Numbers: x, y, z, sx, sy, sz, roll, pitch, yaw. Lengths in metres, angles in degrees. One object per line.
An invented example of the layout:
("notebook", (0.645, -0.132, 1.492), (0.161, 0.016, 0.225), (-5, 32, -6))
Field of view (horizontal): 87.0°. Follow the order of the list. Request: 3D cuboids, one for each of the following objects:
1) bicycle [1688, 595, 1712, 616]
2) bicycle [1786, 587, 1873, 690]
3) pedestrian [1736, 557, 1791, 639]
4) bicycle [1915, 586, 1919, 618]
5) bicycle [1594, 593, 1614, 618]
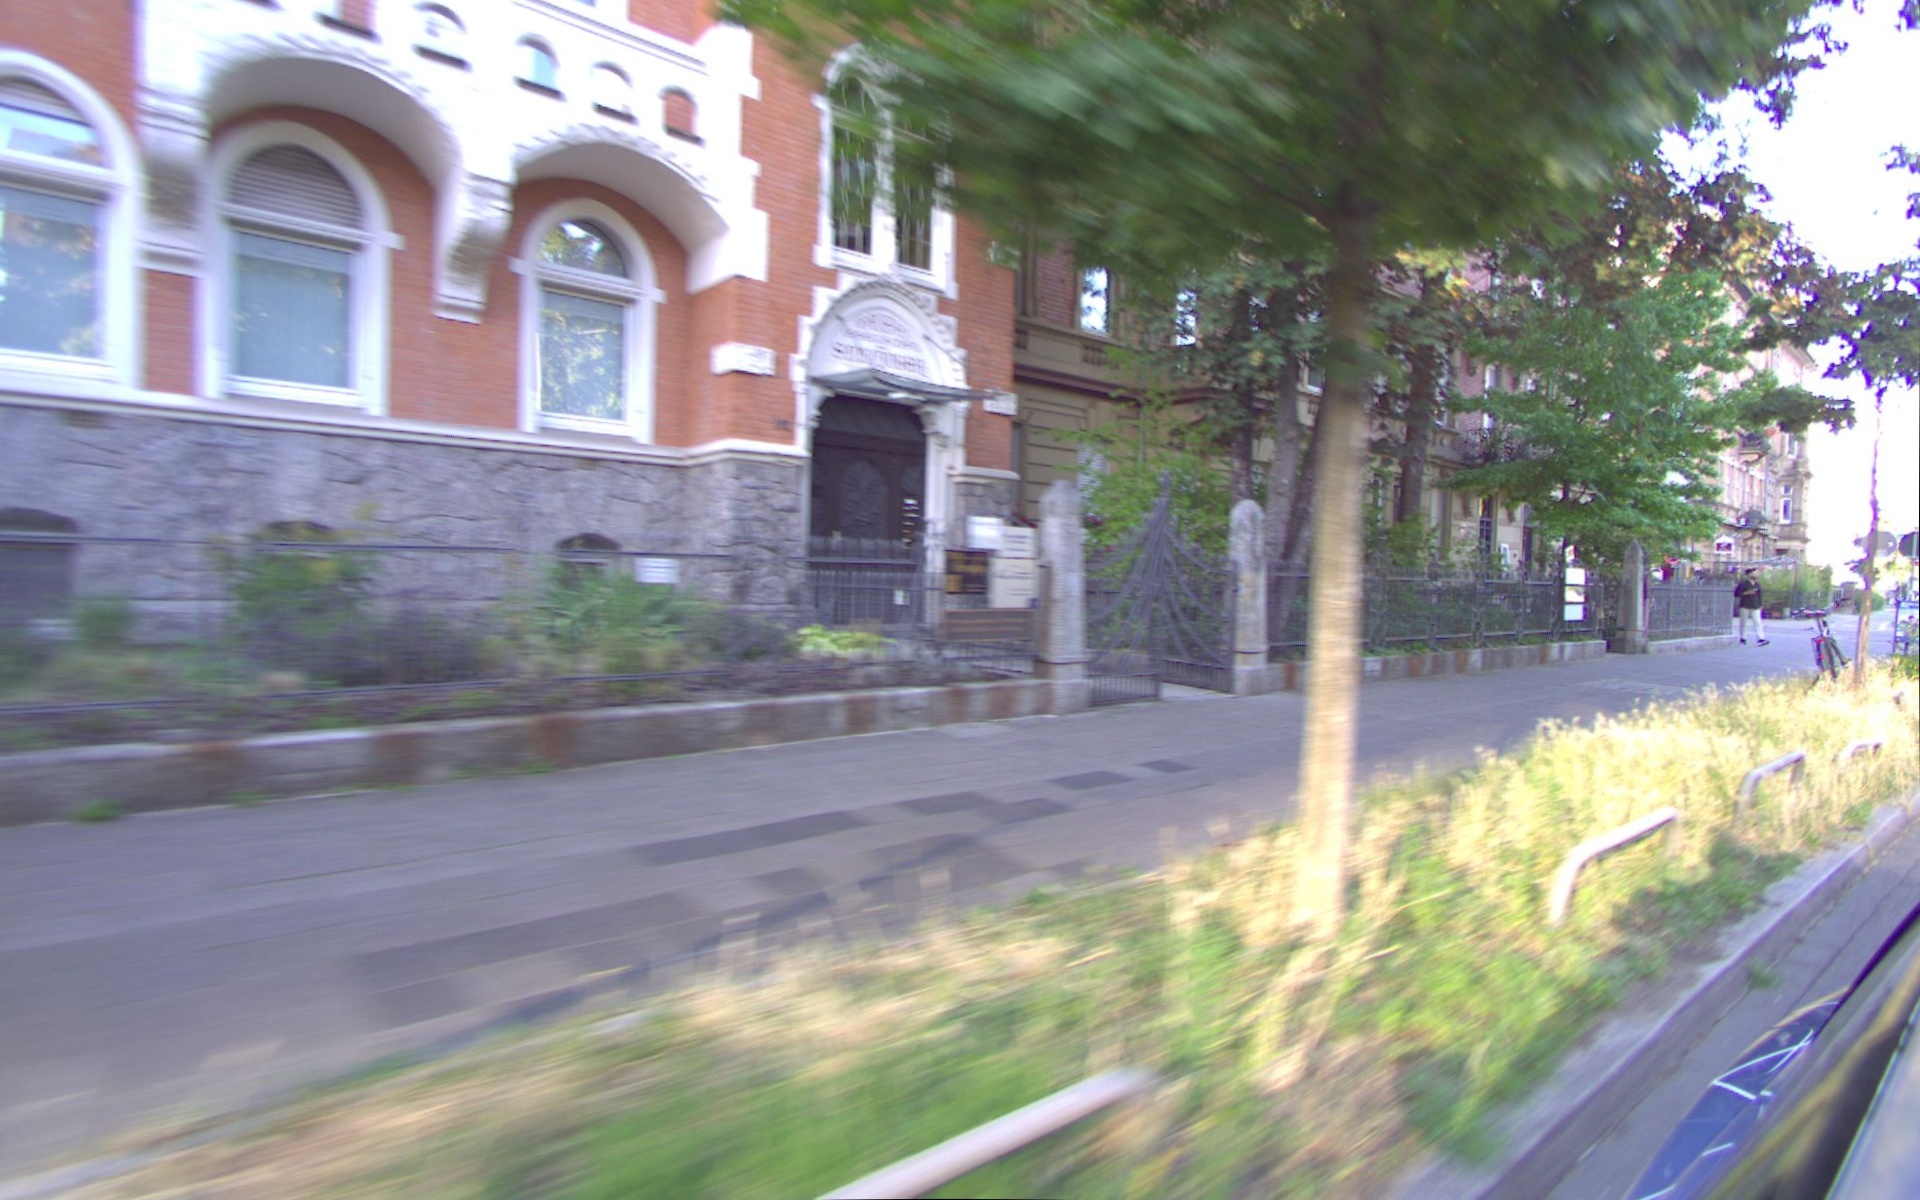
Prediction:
("bicycle", (30.887, 0.217, 42.245), (1.702, 0.827, 0.295), (-3, 2, -35))
("bicycle", (10.770, 0.436, 12.514), (1.899, 1.181, 0.647), (0, 1, -44))
("pedestrian", (18.633, -0.056, 23.465), (0.818, 1.799, 0.746), (0, 5, -44))
("bicycle", (40.000, 0.058, 41.810), (2.228, 1.289, 0.566), (-2, 8, -45))
("bicycle", (24.154, 0.211, 37.961), (1.472, 0.827, 0.291), (4, -3, -44))
